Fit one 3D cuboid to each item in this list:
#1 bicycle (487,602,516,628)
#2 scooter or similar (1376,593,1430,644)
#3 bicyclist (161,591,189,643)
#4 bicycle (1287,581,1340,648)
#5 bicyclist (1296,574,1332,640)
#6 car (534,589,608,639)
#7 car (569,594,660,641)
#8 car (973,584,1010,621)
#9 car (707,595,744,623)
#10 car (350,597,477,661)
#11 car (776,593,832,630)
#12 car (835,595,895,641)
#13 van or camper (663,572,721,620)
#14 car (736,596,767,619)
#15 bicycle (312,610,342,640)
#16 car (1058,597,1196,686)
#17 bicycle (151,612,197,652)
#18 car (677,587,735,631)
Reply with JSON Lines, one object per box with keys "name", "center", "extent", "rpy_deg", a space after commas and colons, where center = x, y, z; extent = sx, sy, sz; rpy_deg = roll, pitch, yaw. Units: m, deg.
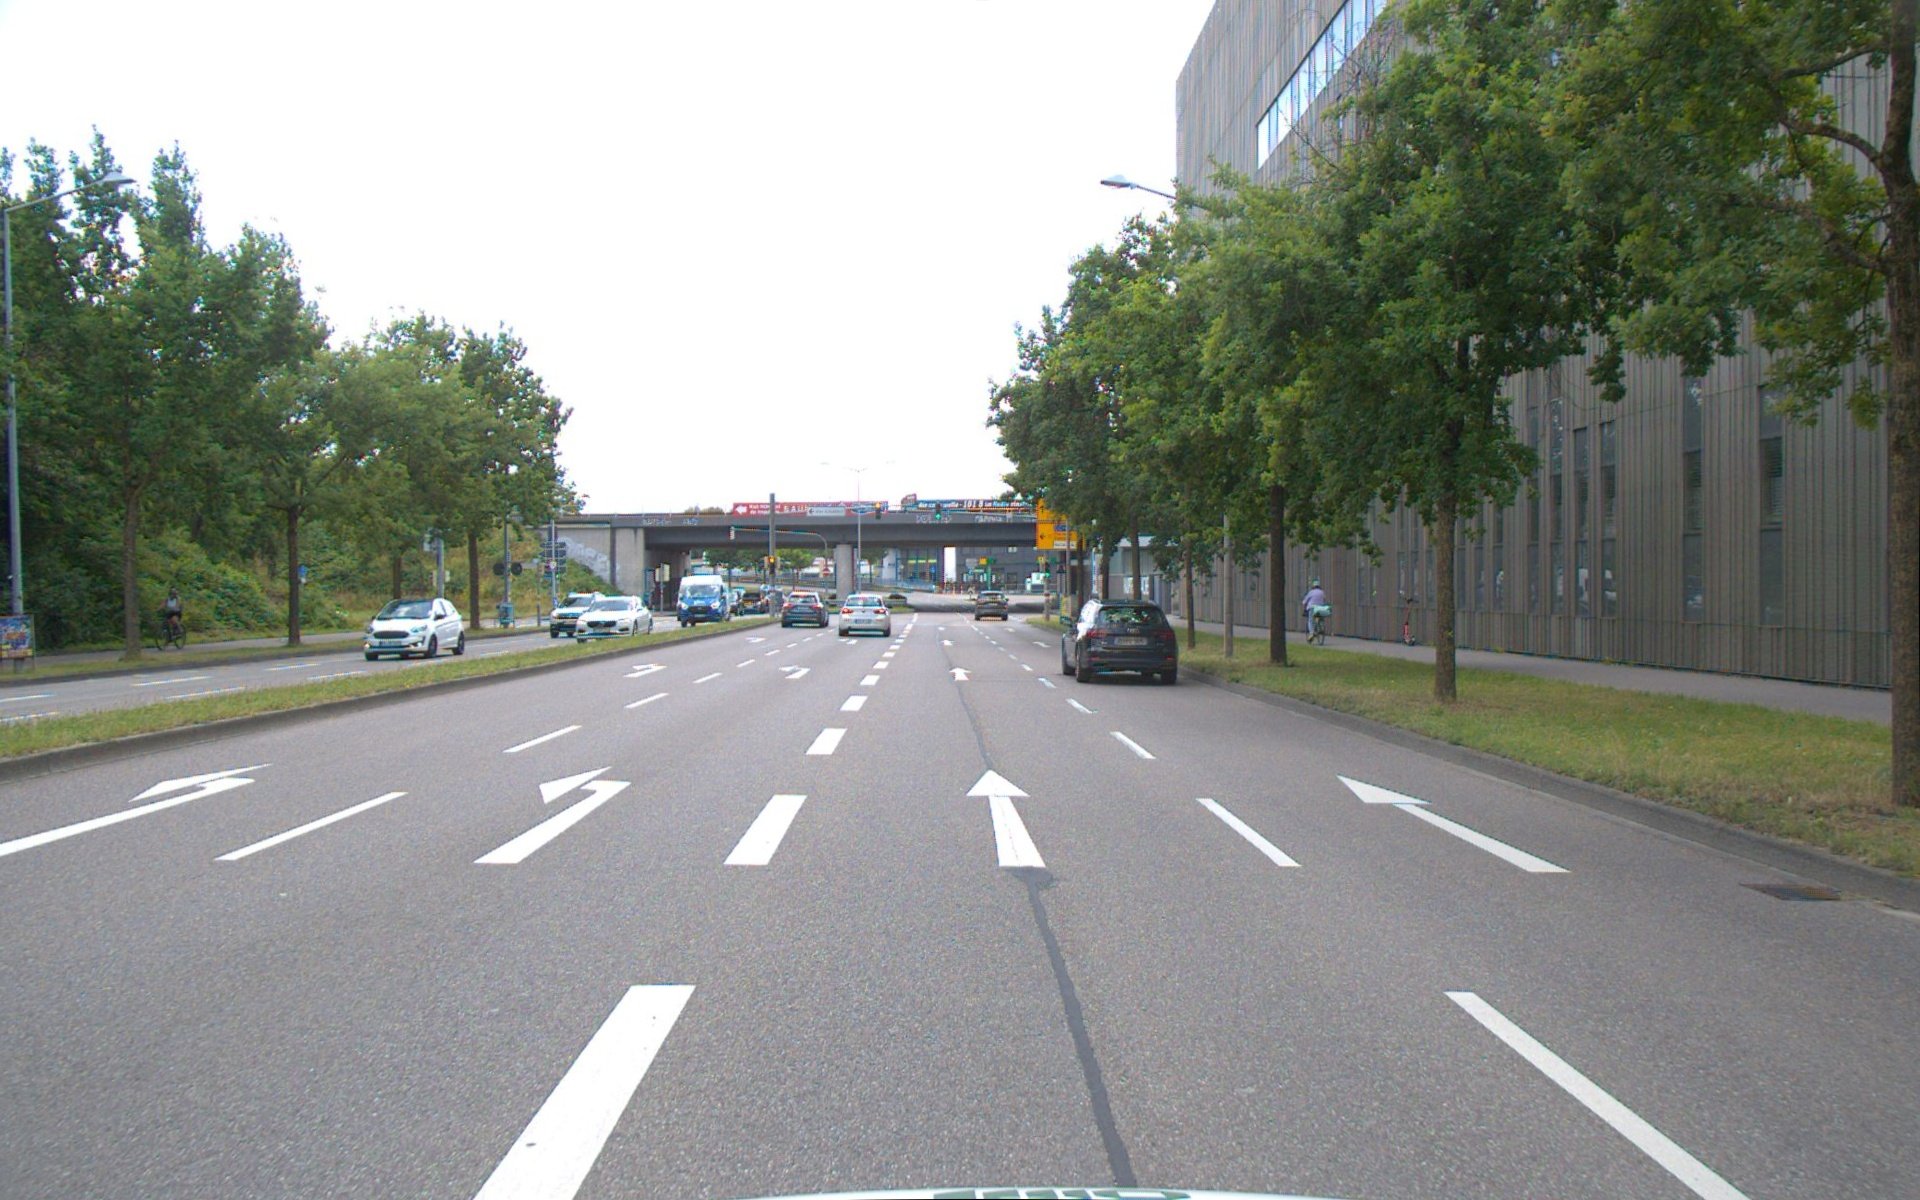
{"name": "bicycle", "center": [-23.933, 0.776, 86.409], "extent": [0.805, 1.292, 2.393], "rpy_deg": [1, 0, 0]}
{"name": "scooter or similar", "center": [11.492, 0.470, 42.987], "extent": [0.690, 1.268, 2.479], "rpy_deg": [-1, 0, -1]}
{"name": "bicyclist", "center": [-23.027, 0.500, 48.530], "extent": [0.484, 1.490, 0.713], "rpy_deg": [1, 0, -4]}
{"name": "bicycle", "center": [9.808, 0.397, 45.972], "extent": [0.705, 1.805, 2.531], "rpy_deg": [-1, 0, -5]}
{"name": "bicyclist", "center": [9.813, 0.194, 45.853], "extent": [0.701, 1.800, 0.987], "rpy_deg": [-1, 0, -5]}
{"name": "car", "center": [-14.950, 0.509, 63.779], "extent": [1.953, 1.833, 4.407], "rpy_deg": [-1, 0, -2]}
{"name": "car", "center": [-11.248, 0.549, 54.160], "extent": [1.953, 1.456, 5.023], "rpy_deg": [-1, 0, -1]}
{"name": "car", "center": [1.787, 0.142, 94.473], "extent": [1.953, 2.073, 4.712], "rpy_deg": [-1, 0, -1]}
{"name": "car", "center": [-15.632, 0.576, 110.479], "extent": [1.953, 1.797, 4.218], "rpy_deg": [-1, 0, -2]}
{"name": "car", "center": [-13.991, 0.698, 42.575], "extent": [1.876, 1.468, 4.413], "rpy_deg": [-2, 0, -2]}
{"name": "car", "center": [-6.512, 0.462, 69.544], "extent": [1.953, 1.440, 4.831], "rpy_deg": [1, 0, -1]}
{"name": "car", "center": [-3.299, 0.607, 58.231], "extent": [1.876, 1.439, 4.294], "rpy_deg": [3, 0, -1]}
{"name": "van or camper", "center": [-14.969, -0.218, 92.799], "extent": [2.304, 2.584, 7.061], "rpy_deg": [1, 0, -2]}
{"name": "car", "center": [-15.344, 0.562, 121.869], "extent": [1.769, 1.661, 4.391], "rpy_deg": [-1, 0, -1]}
{"name": "bicycle", "center": [-23.834, 0.929, 62.273], "extent": [0.536, 1.070, 1.836], "rpy_deg": [-1, 0, -5]}
{"name": "car", "center": [2.966, 0.703, 30.258], "extent": [1.953, 1.414, 4.575], "rpy_deg": [1, 1, -1]}
{"name": "bicycle", "center": [-23.023, 0.920, 48.471], "extent": [0.499, 1.126, 1.844], "rpy_deg": [1, 0, -1]}
{"name": "car", "center": [-11.974, 0.389, 78.281], "extent": [2.146, 1.998, 5.191], "rpy_deg": [-1, 0, -2]}
